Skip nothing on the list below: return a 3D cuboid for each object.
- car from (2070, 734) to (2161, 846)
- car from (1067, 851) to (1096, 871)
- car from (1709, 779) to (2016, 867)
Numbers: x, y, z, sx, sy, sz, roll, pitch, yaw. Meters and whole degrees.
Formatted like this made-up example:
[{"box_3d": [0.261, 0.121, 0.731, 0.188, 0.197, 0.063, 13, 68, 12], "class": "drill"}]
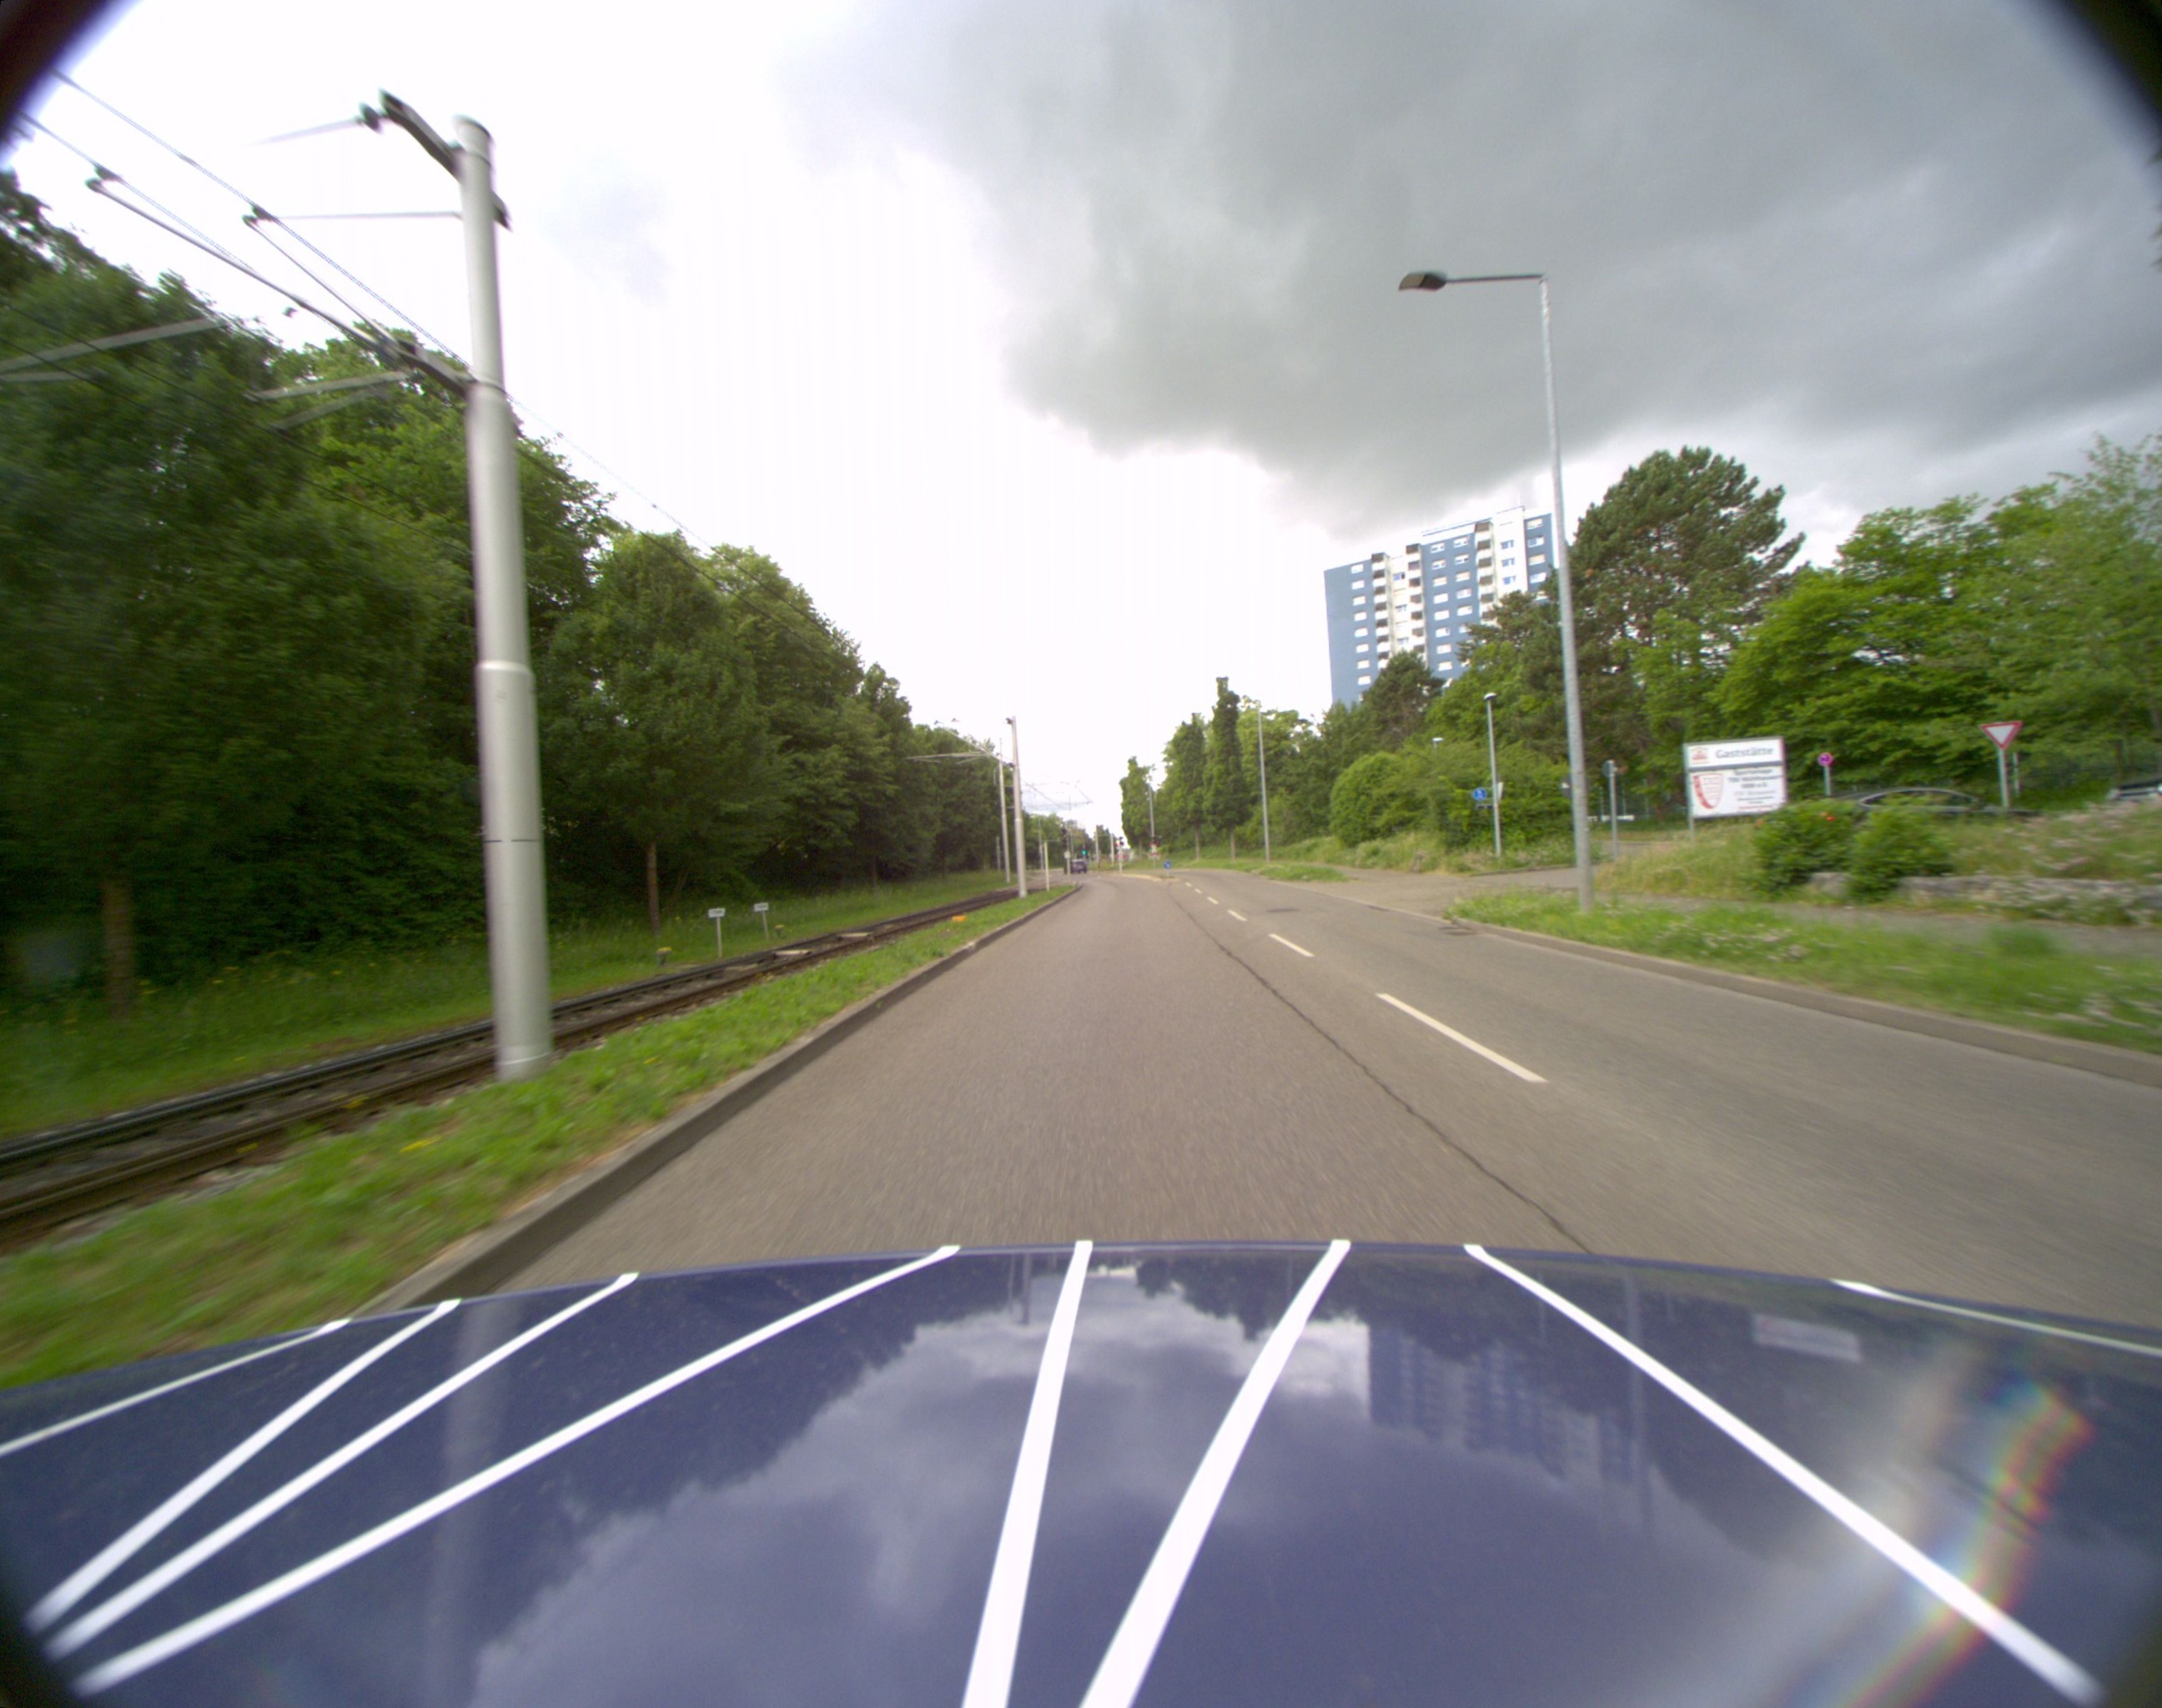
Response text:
[{"box_3d": [15.669, -0.950, 9.367, 4.043, 1.409, 2.001, -4, 0, 5], "class": "car"}, {"box_3d": [0.034, 0.731, 79.480, 1.606, 2.002, 3.993, -3, 0, -21], "class": "car"}, {"box_3d": [15.724, -0.585, 15.514, 3.996, 1.409, 2.001, -4, 0, 5], "class": "car"}]
